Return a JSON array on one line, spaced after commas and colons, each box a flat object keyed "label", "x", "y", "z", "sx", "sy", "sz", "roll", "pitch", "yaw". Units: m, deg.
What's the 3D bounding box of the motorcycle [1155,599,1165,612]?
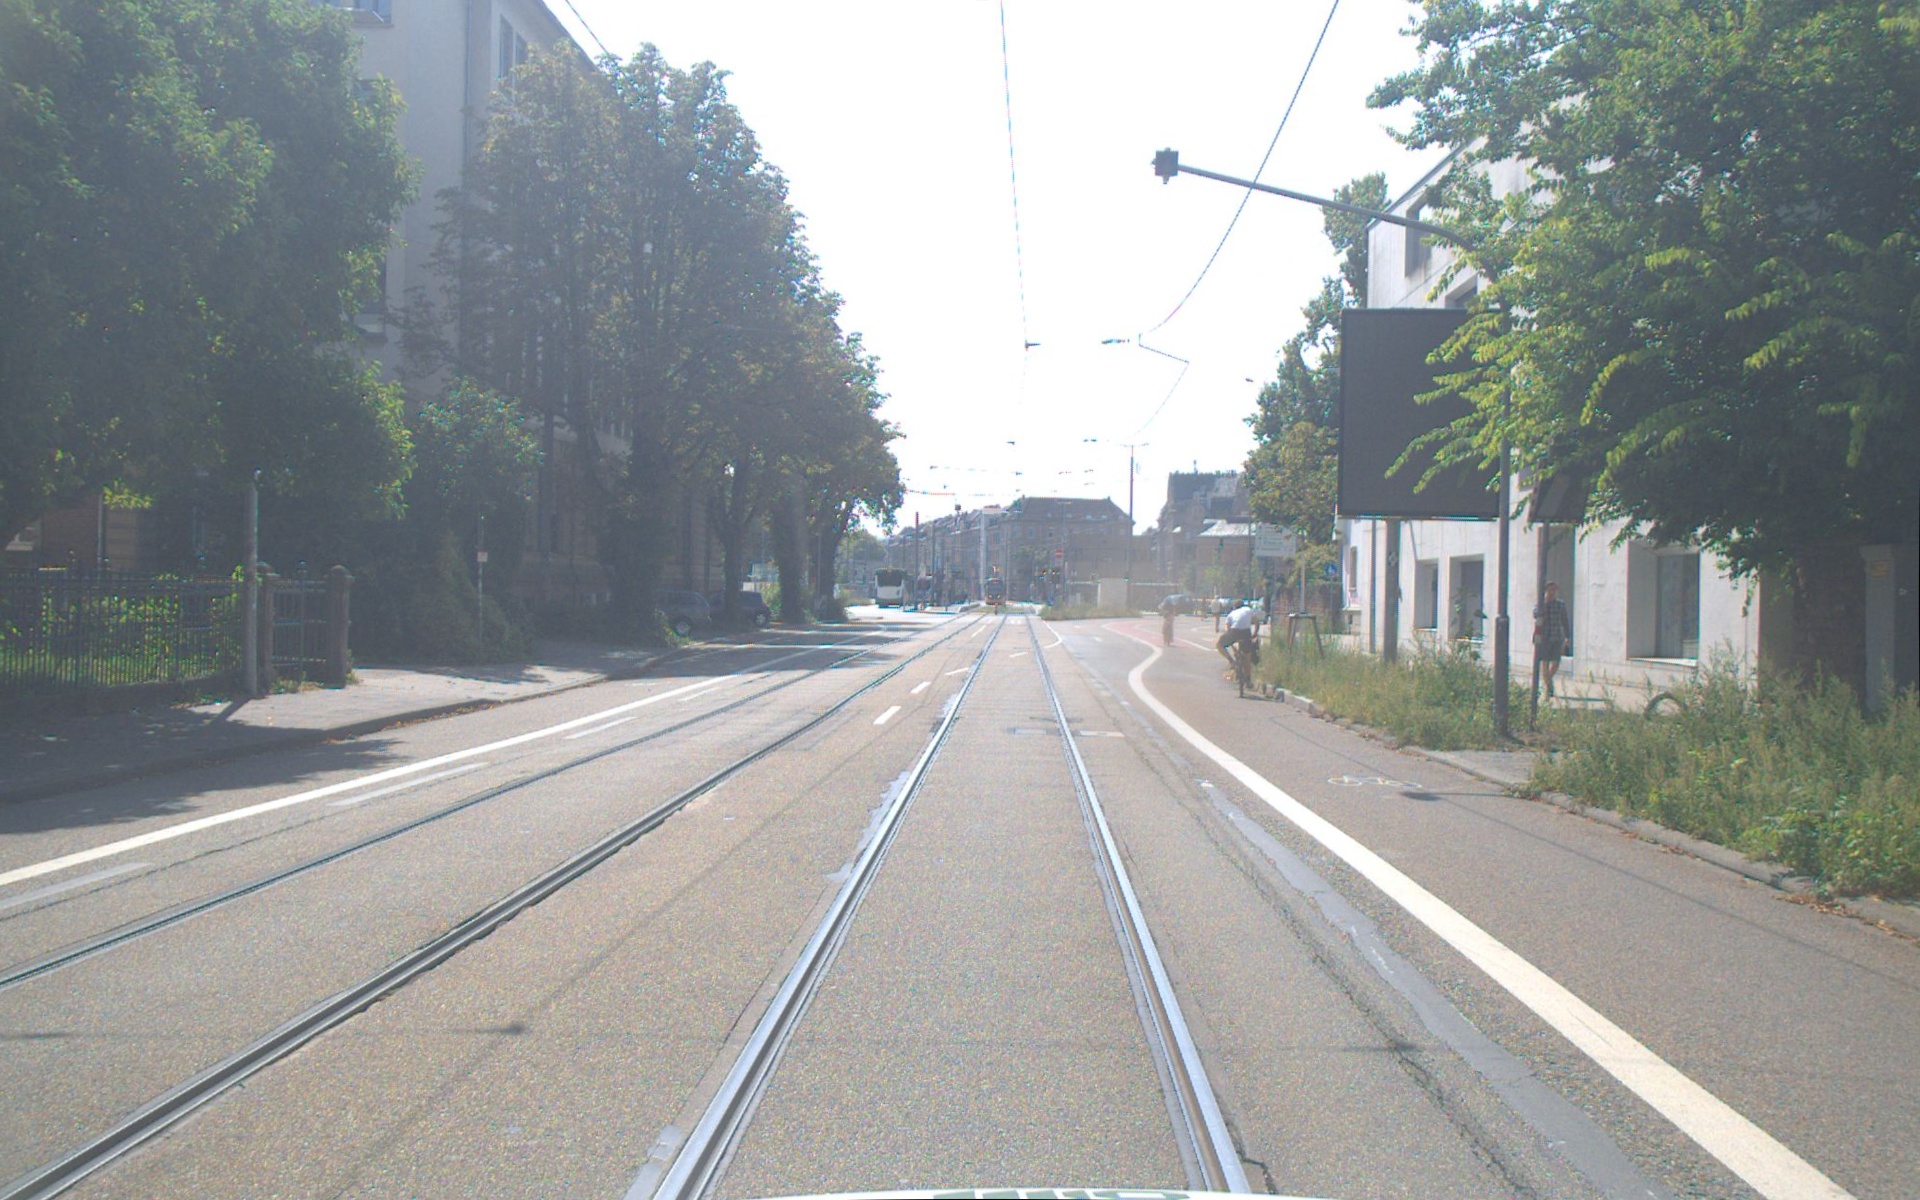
[{"label": "motorcycle", "x": 18.499, "y": 0.510, "z": 152.945, "sx": 0.591, "sy": 1.232, "sz": 2.255, "roll": 1, "pitch": 0, "yaw": 13}]

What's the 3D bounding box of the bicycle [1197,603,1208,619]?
[{"label": "bicycle", "x": 17.227, "y": 0.795, "z": 117.626, "sx": 0.435, "sy": 1.136, "sz": 1.446, "roll": 1, "pitch": 0, "yaw": 22}]

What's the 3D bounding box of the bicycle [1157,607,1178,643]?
[{"label": "bicycle", "x": 7.178, "y": 0.857, "z": 57.379, "sx": 0.591, "sy": 1.183, "sz": 1.811, "roll": 1, "pitch": 0, "yaw": 3}]

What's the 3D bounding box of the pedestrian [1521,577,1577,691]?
[{"label": "pedestrian", "x": 9.281, "y": 0.525, "z": 26.063, "sx": 0.677, "sy": 1.762, "sz": 0.579, "roll": 1, "pitch": 0, "yaw": 4}]

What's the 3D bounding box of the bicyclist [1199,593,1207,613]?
[{"label": "bicyclist", "x": 17.265, "y": 0.198, "z": 117.663, "sx": 0.440, "sy": 1.446, "sz": 0.496, "roll": 1, "pitch": 0, "yaw": 21}]

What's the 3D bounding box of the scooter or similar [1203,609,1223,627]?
[{"label": "scooter or similar", "x": 13.292, "y": 0.938, "z": 86.943, "sx": 0.756, "sy": 0.942, "sz": 1.621, "roll": 2, "pitch": 0, "yaw": 19}]

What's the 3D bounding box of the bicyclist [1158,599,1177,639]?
[{"label": "bicyclist", "x": 7.177, "y": 0.643, "z": 57.270, "sx": 0.590, "sy": 1.358, "sz": 0.660, "roll": 1, "pitch": 0, "yaw": 3}]

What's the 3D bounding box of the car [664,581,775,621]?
[{"label": "car", "x": -9.738, "y": 0.064, "z": 67.020, "sx": 4.116, "sy": 1.522, "sz": 1.799, "roll": 1, "pitch": 0, "yaw": -36}]

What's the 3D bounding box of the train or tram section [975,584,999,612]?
[{"label": "train or tram section", "x": 3.745, "y": -0.222, "z": 224.867, "sx": 2.797, "sy": 3.610, "sz": 17.746, "roll": 2, "pitch": 0, "yaw": 2}]

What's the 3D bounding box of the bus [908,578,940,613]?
[{"label": "bus", "x": -4.051, "y": -0.479, "z": 189.115, "sx": 2.653, "sy": 3.792, "sz": 10.423, "roll": 2, "pitch": 0, "yaw": 3}]

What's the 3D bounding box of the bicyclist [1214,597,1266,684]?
[{"label": "bicyclist", "x": 4.763, "y": 0.683, "z": 28.164, "sx": 0.729, "sy": 1.436, "sz": 0.962, "roll": 1, "pitch": 0, "yaw": 2}]

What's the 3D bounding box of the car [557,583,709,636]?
[{"label": "car", "x": -10.221, "y": 0.294, "z": 51.782, "sx": 4.358, "sy": 1.487, "sz": 1.807, "roll": 2, "pitch": 0, "yaw": -25}]

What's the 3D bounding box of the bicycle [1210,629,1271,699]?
[{"label": "bicycle", "x": 4.753, "y": 1.067, "z": 28.125, "sx": 0.724, "sy": 1.067, "sz": 2.234, "roll": 1, "pitch": 0, "yaw": 2}]

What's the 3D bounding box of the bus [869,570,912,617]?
[{"label": "bus", "x": -5.989, "y": -0.548, "z": 143.476, "sx": 2.897, "sy": 3.840, "sz": 10.598, "roll": 2, "pitch": 0, "yaw": 1}]

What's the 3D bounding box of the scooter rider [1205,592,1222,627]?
[{"label": "scooter rider", "x": 13.342, "y": 0.512, "z": 87.061, "sx": 0.746, "sy": 1.806, "sz": 0.555, "roll": 1, "pitch": 0, "yaw": 19}]
